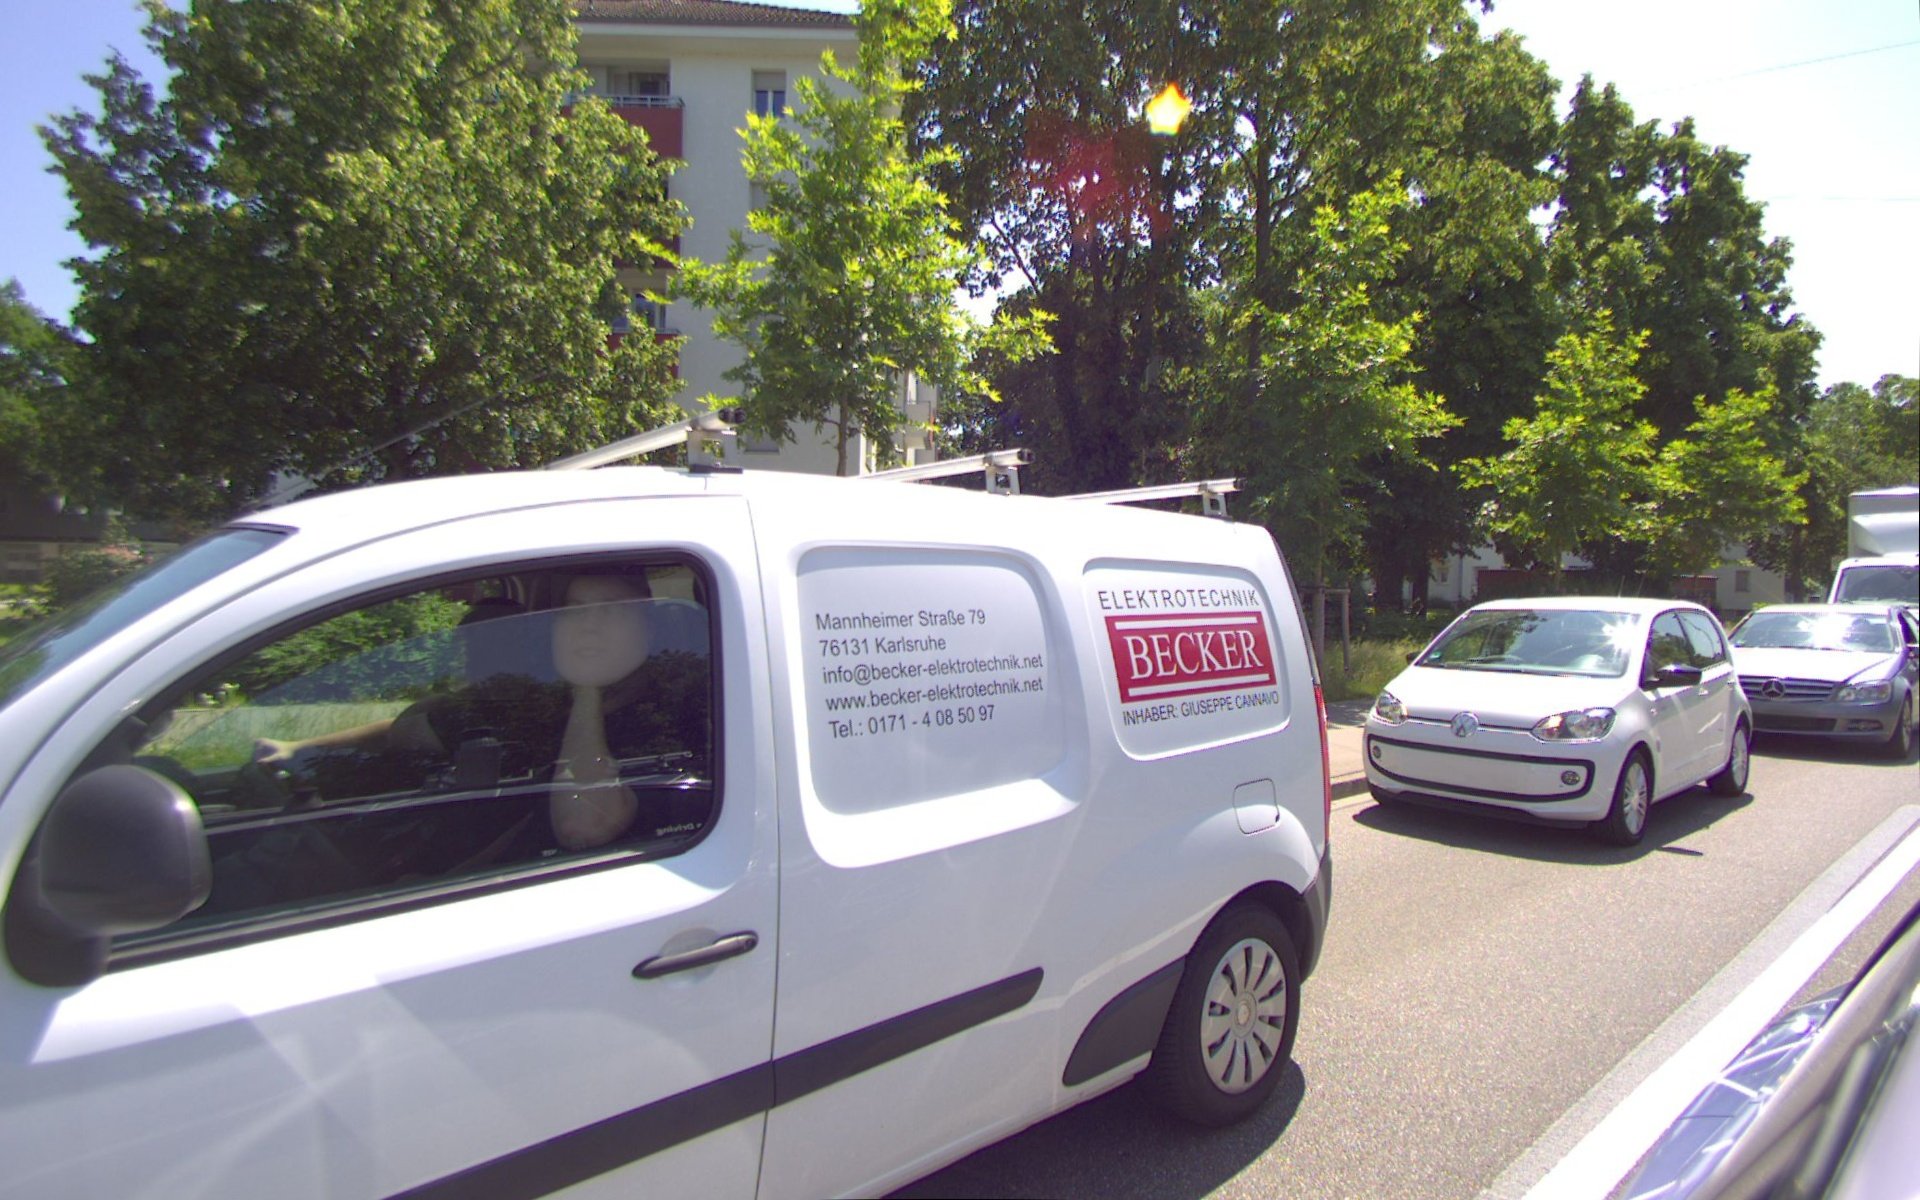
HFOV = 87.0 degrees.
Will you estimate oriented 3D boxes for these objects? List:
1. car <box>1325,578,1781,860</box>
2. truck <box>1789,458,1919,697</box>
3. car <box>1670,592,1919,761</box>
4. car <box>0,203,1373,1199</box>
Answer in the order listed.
[{"bbox_3d":[4.396,0.621,7.294,3.705,1.497,1.729,0,1,-41],"label":"car"},{"bbox_3d":[16.512,-0.338,16.979,7.778,3.387,2.434,0,1,-39],"label":"truck"},{"bbox_3d":[9.229,0.654,10.744,4.016,1.426,1.839,0,1,-41],"label":"car"},{"bbox_3d":[-0.997,0.453,2.540,4.370,1.849,1.997,0,1,-41],"label":"car"}]
